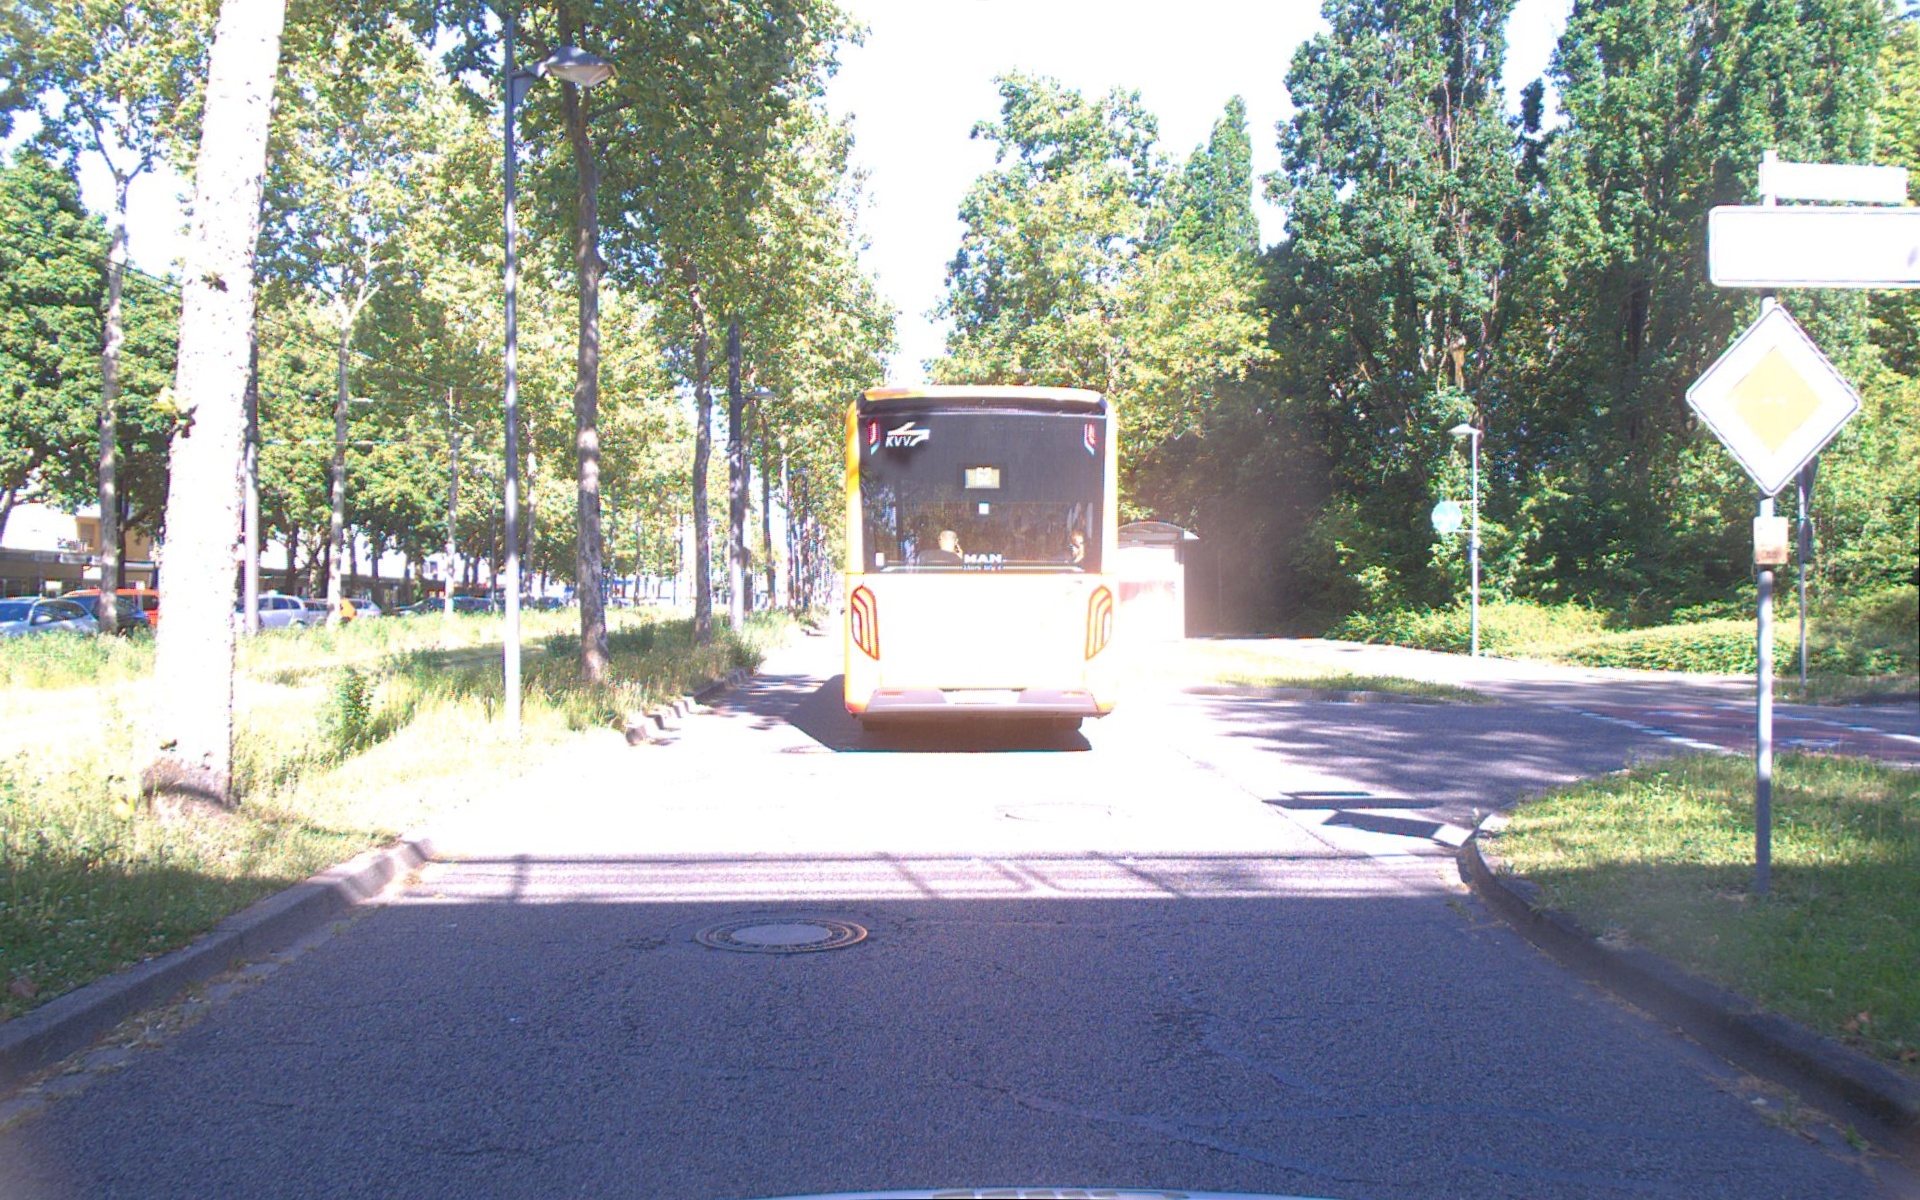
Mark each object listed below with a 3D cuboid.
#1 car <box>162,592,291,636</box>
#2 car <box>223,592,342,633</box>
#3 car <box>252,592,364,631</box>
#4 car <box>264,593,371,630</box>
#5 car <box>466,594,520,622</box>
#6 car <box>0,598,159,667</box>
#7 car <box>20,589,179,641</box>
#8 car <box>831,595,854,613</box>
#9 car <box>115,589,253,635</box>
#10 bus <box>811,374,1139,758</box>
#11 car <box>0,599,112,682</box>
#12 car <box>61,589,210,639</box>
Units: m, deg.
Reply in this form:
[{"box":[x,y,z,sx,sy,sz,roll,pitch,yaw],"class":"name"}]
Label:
[{"box":[-26.799,0.491,60.520,3.970,1.537,1.771,-1,0,-45],"class":"car"},{"box":[-26.534,0.476,64.820,1.768,1.537,3.975,-1,0,42],"class":"car"},{"box":[-26.922,0.472,68.365,1.768,1.537,3.975,-1,0,42],"class":"car"},{"box":[-27.732,0.488,71.481,1.768,1.537,3.975,-1,0,42],"class":"car"},{"box":[-26.380,0.440,93.614,1.757,1.537,4.001,0,0,2],"class":"car"},{"box":[-21.171,0.742,39.821,1.757,1.537,4.000,0,0,1],"class":"car"},{"box":[-26.297,0.436,50.633,1.768,1.537,3.975,-1,0,42],"class":"car"},{"box":[-11.776,0.391,166.272,1.946,1.672,4.134,2,1,0],"class":"car"},{"box":[-26.783,0.388,57.189,1.768,1.537,3.975,-1,0,42],"class":"car"},{"box":[-0.039,-0.318,20.526,2.841,3.324,12.213,0,0,-2],"class":"bus"},{"box":[-18.901,0.762,32.982,1.758,1.537,4.672,0,0,-3],"class":"car"},{"box":[-26.709,0.443,53.660,1.768,1.537,3.975,-1,0,42],"class":"car"}]
